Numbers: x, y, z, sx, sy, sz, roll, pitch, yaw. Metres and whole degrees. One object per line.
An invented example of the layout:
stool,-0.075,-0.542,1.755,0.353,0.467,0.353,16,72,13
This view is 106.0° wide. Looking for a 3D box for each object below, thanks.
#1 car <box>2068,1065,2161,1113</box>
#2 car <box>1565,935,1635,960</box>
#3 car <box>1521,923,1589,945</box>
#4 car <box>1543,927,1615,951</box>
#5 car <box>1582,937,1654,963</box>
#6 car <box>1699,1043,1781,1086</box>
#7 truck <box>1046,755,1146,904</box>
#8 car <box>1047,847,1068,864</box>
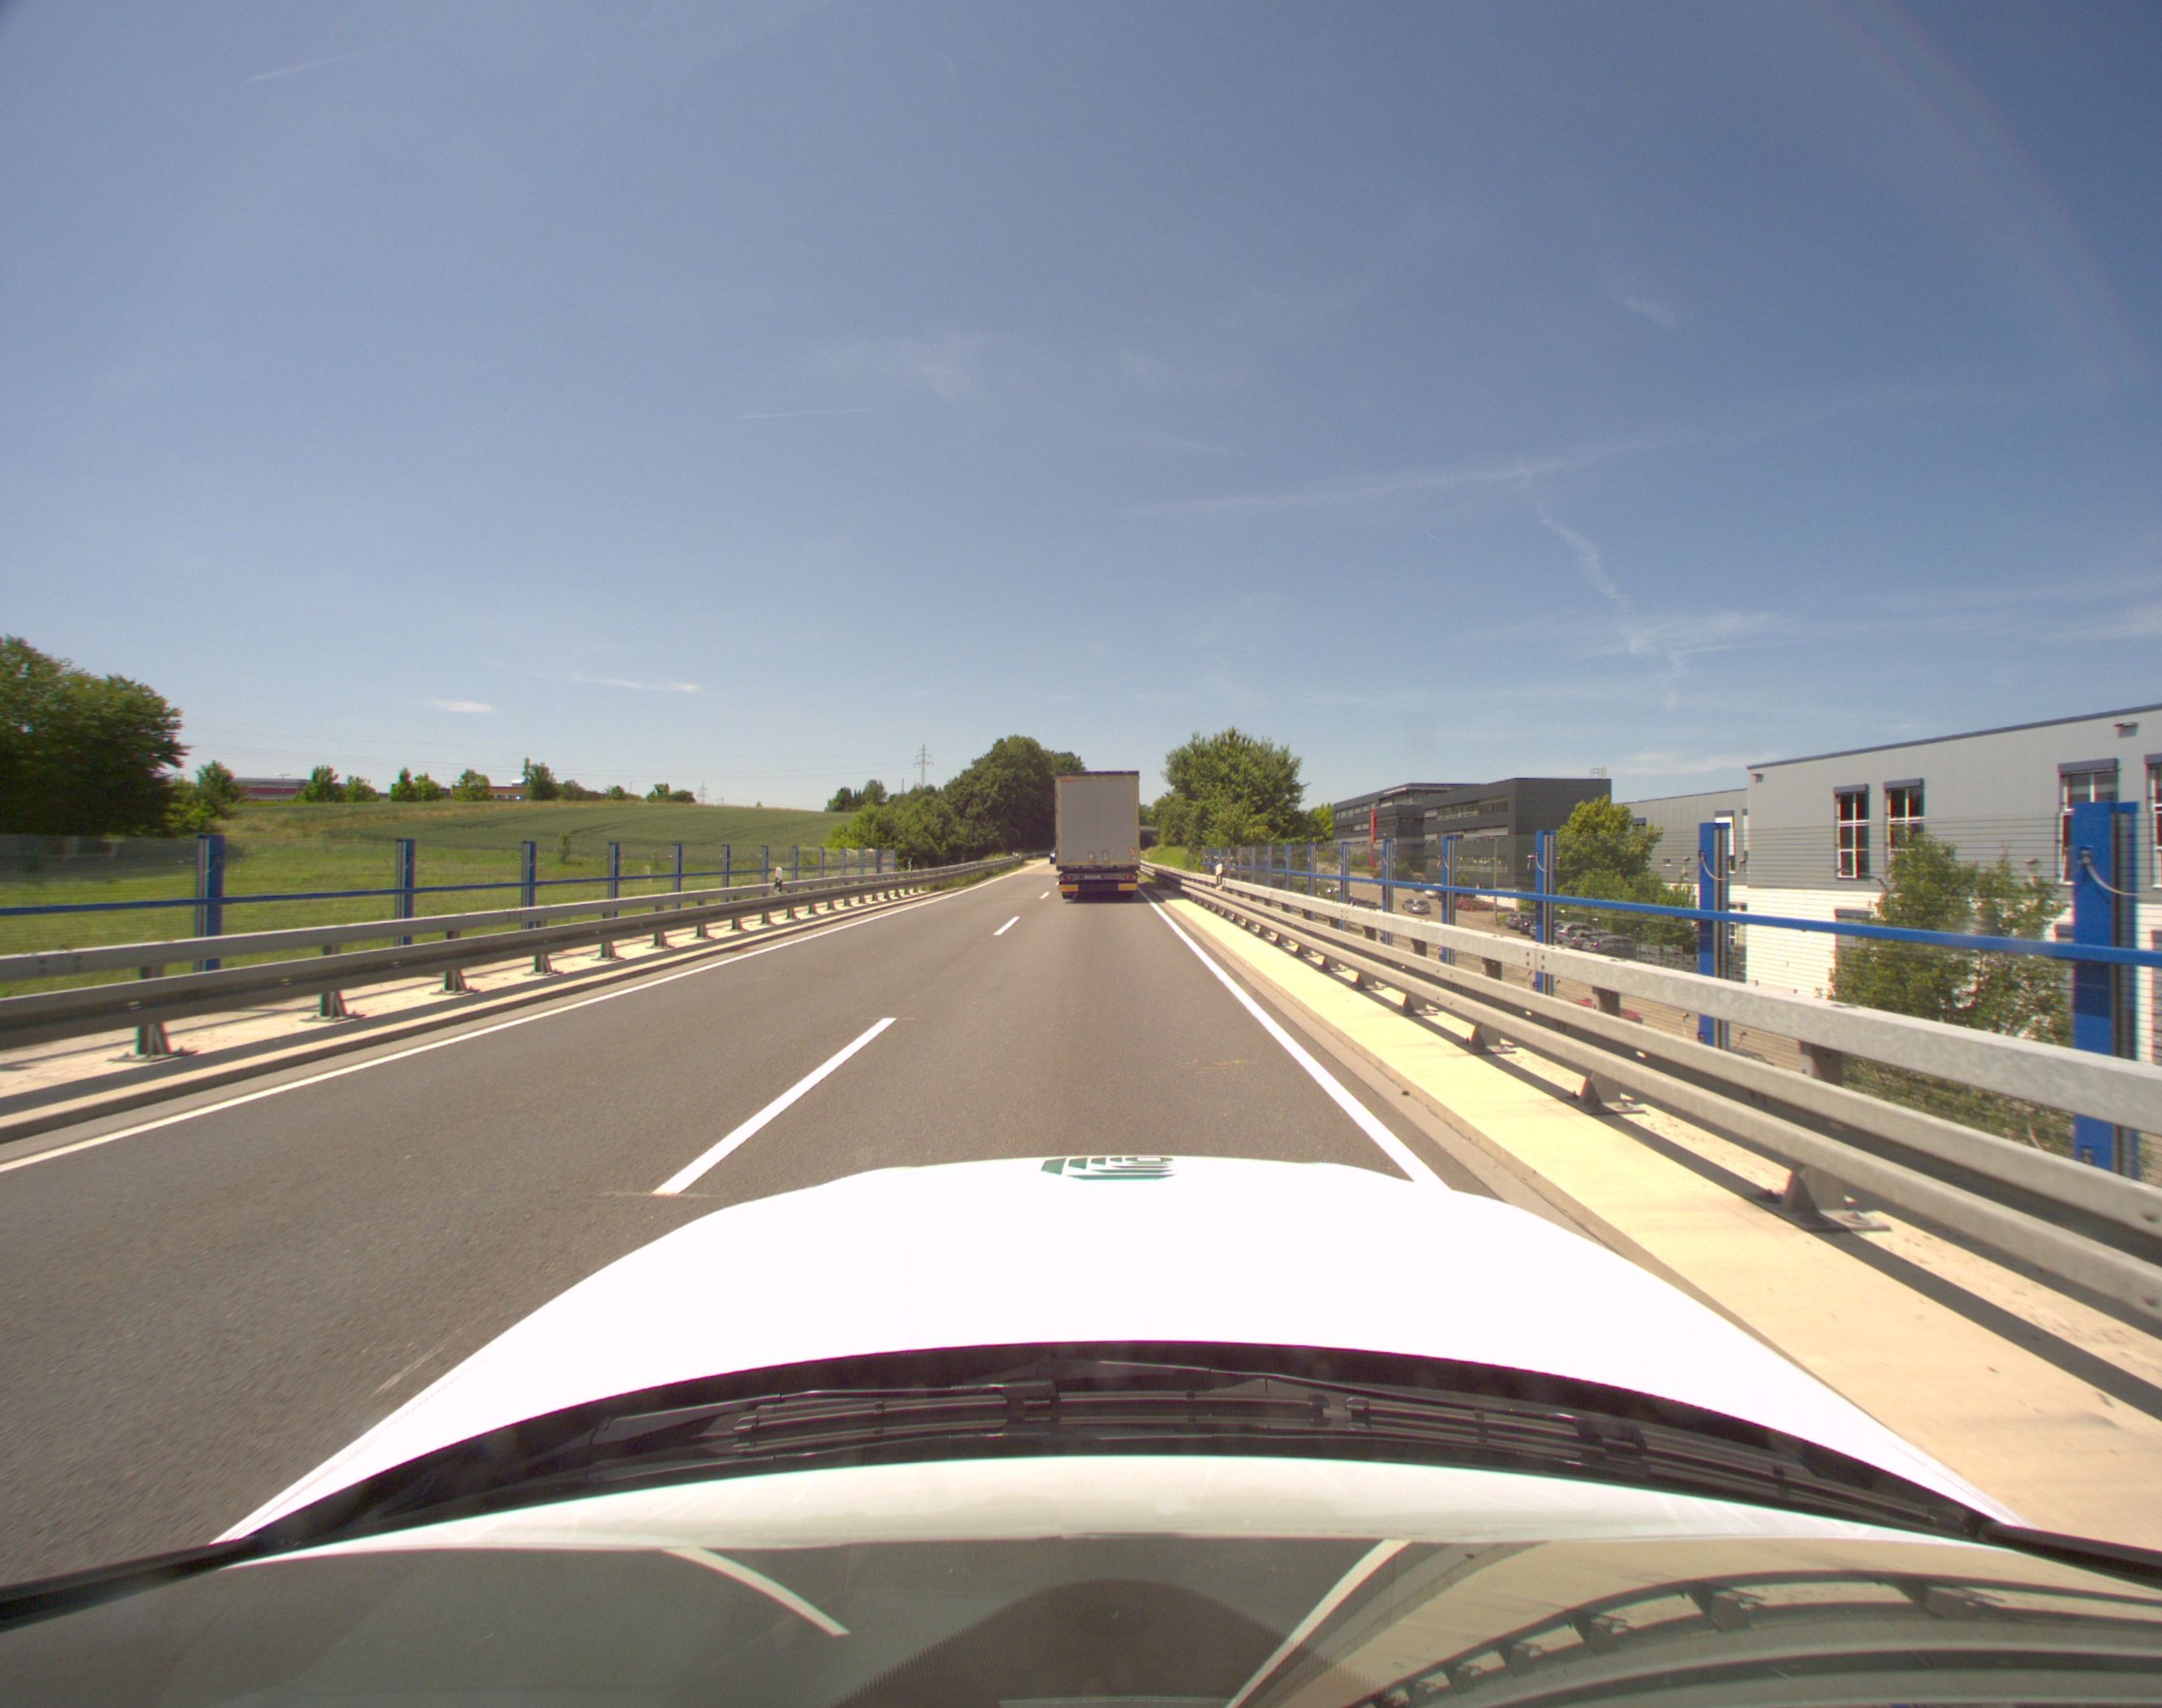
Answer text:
car,39.406,8.808,30.163,3.654,1.148,1.513,6,-1,3
car,39.159,7.023,61.508,4.023,1.571,1.913,0,3,0
car,38.975,6.574,67.074,4.556,1.571,1.821,0,3,0
car,39.243,6.693,64.288,4.556,1.571,1.821,0,3,0
car,39.088,6.998,59.363,4.023,1.571,1.913,0,3,0
car,26.367,8.388,32.554,3.695,1.148,1.496,7,-1,-35
truck,0.571,-0.831,29.137,2.856,4.359,9.792,2,1,1
car,-2.268,0.111,78.936,1.859,1.611,4.372,0,0,0
